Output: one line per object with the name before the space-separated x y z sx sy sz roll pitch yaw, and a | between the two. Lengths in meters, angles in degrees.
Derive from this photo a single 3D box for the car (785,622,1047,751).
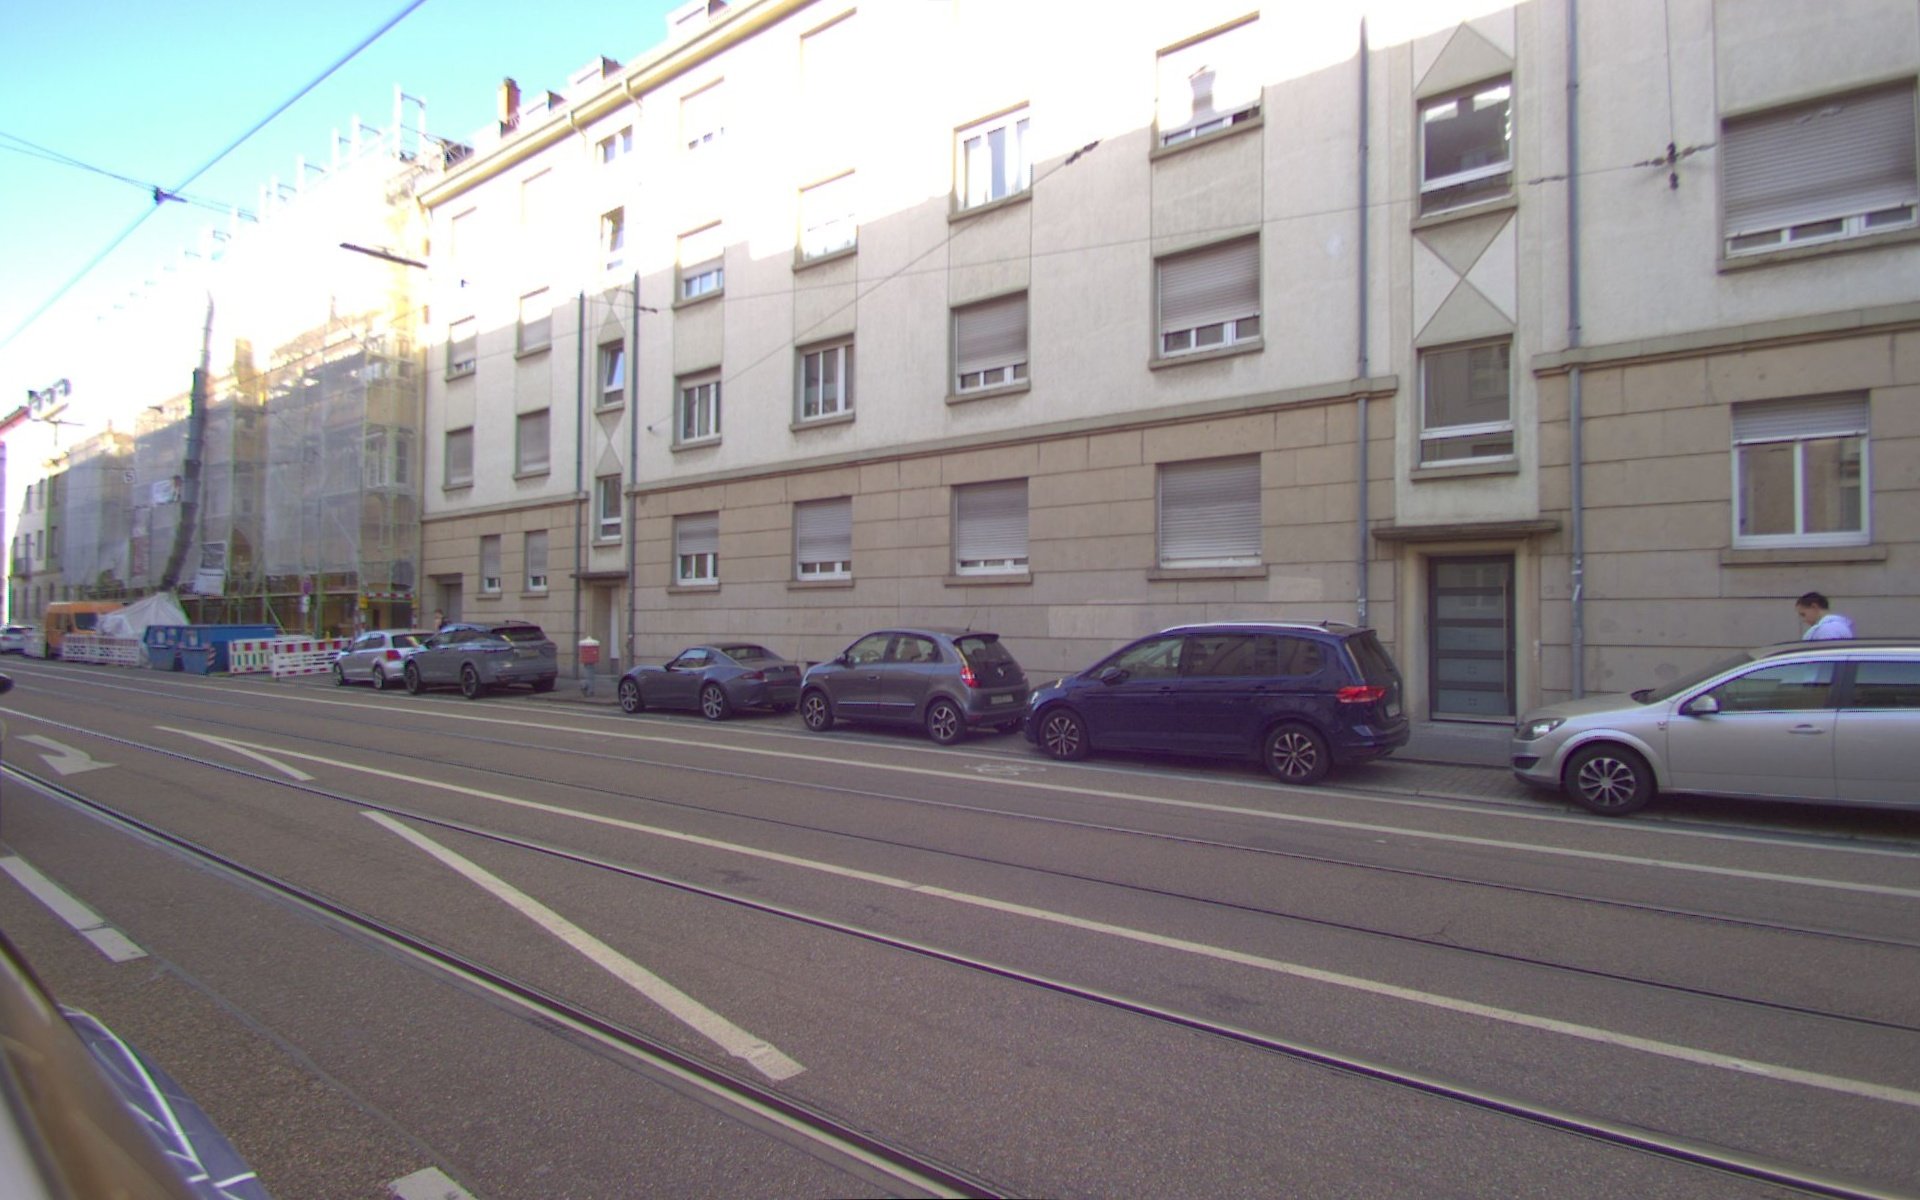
car | -0.697 1.136 14.638 3.591 1.570 1.624 -1 1 38

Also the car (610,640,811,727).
car | -4.348 1.373 17.453 3.518 1.229 1.458 -1 1 37

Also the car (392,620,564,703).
car | -10.816 1.299 22.629 4.152 1.621 1.731 -1 1 37

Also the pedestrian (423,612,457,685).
pedestrian | -13.777 1.270 26.808 0.762 1.886 0.513 -1 0 38

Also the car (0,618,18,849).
car | -7.950 0.874 6.951 3.814 1.436 1.706 -2 -3 40

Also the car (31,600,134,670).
car | -36.464 1.393 42.001 5.866 2.717 2.188 -1 0 39

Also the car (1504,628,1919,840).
car | 7.116 1.013 8.424 4.363 1.465 1.709 -1 1 37

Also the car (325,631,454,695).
car | -14.325 1.526 25.359 3.502 1.390 1.546 -1 1 37

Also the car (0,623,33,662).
car | -50.018 2.212 53.323 1.635 1.937 3.767 -1 0 -44

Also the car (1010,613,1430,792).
car | 2.872 1.009 11.638 4.318 1.645 1.798 -1 1 37

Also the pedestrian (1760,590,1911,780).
pedestrian | 8.610 0.797 10.002 1.002 1.781 0.657 -1 0 31

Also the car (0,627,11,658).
car | -54.788 2.401 56.897 3.932 1.696 1.550 -1 0 39
